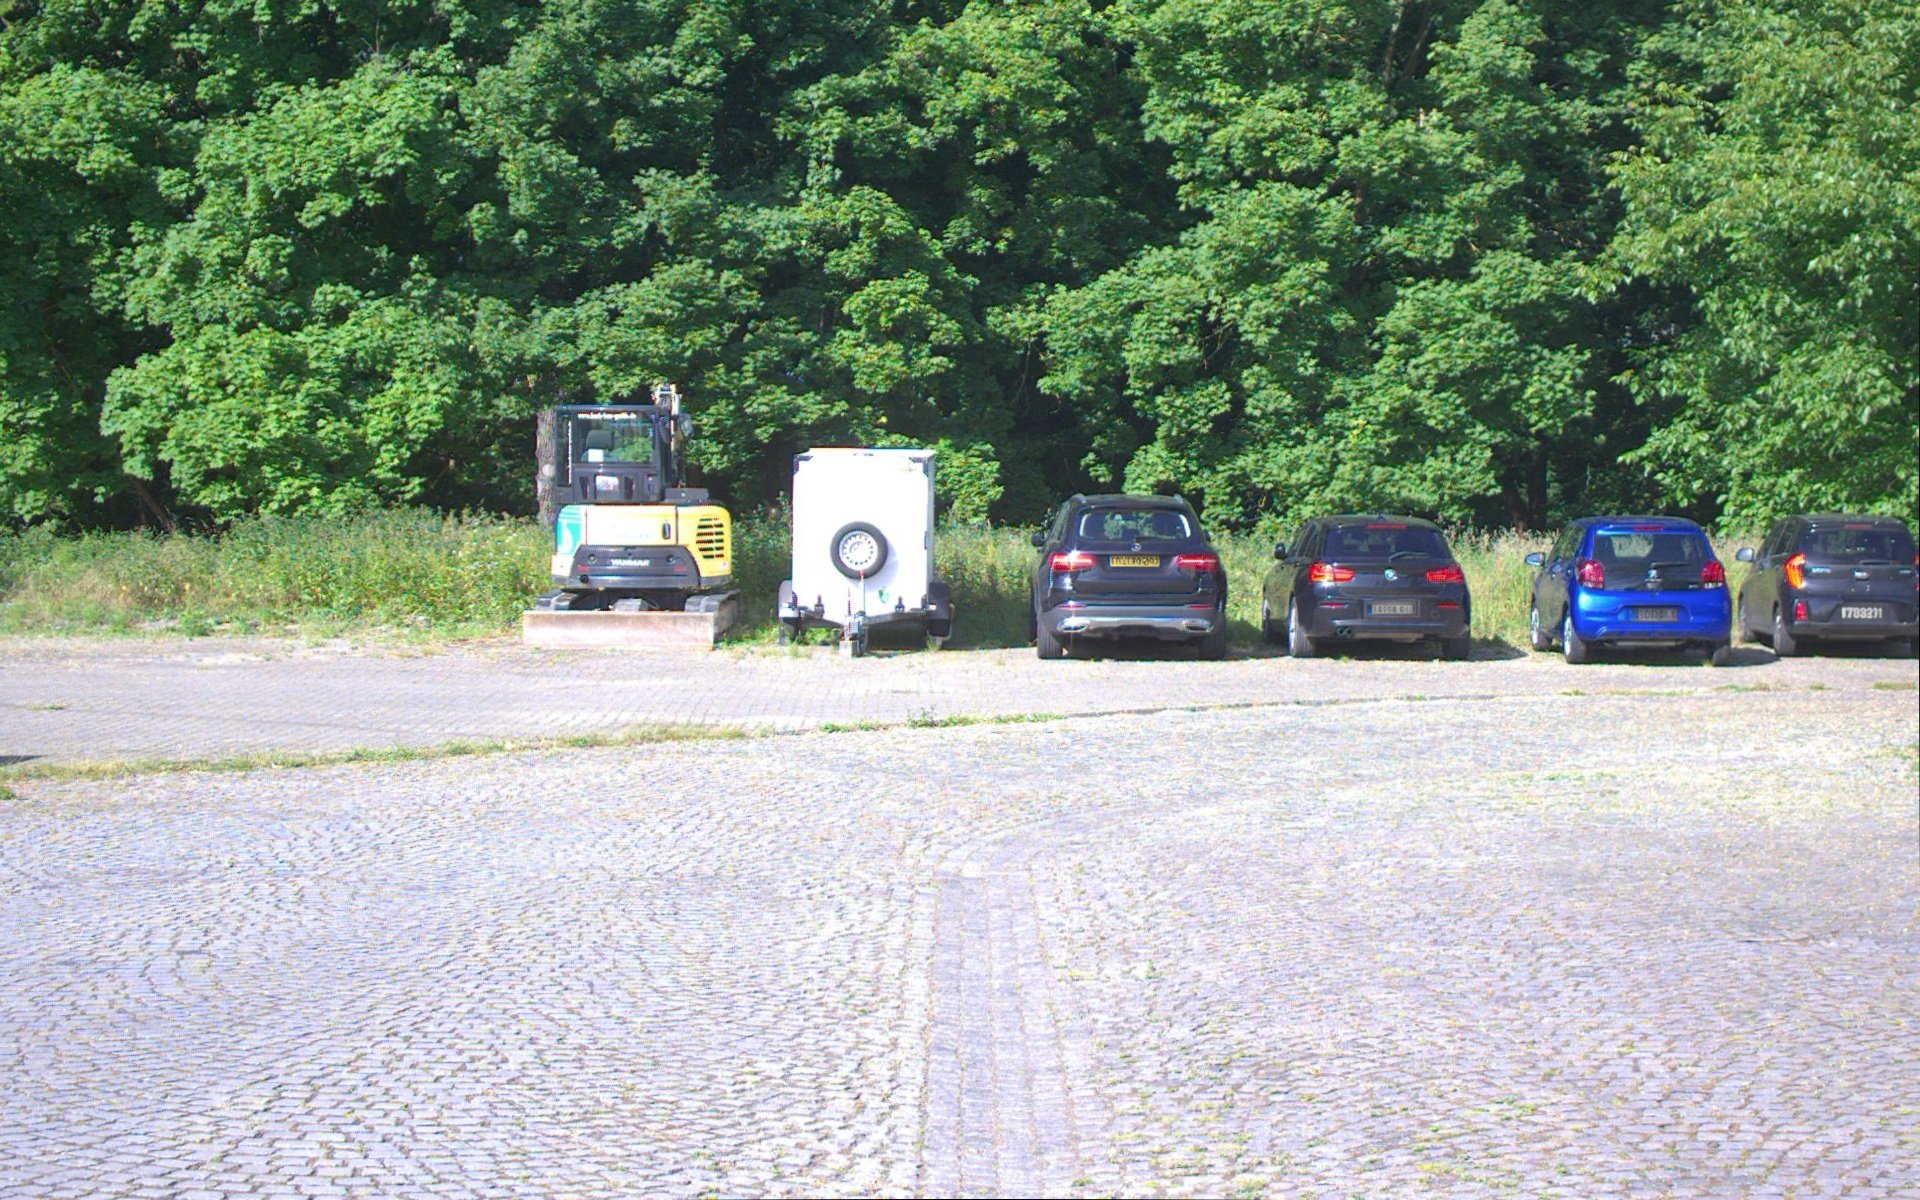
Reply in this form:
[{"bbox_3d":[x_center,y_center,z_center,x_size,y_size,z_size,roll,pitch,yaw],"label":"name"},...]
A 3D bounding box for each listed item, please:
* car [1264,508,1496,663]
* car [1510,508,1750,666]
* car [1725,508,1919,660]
[{"bbox_3d":[4.211,-0.188,34.995,1.889,1.406,3.790,1,2,0],"label":"car"},{"bbox_3d":[6.843,-0.178,35.471,1.780,1.453,3.790,1,3,1],"label":"car"},{"bbox_3d":[9.287,-0.213,36.653,1.739,1.446,3.724,1,3,6],"label":"car"}]
